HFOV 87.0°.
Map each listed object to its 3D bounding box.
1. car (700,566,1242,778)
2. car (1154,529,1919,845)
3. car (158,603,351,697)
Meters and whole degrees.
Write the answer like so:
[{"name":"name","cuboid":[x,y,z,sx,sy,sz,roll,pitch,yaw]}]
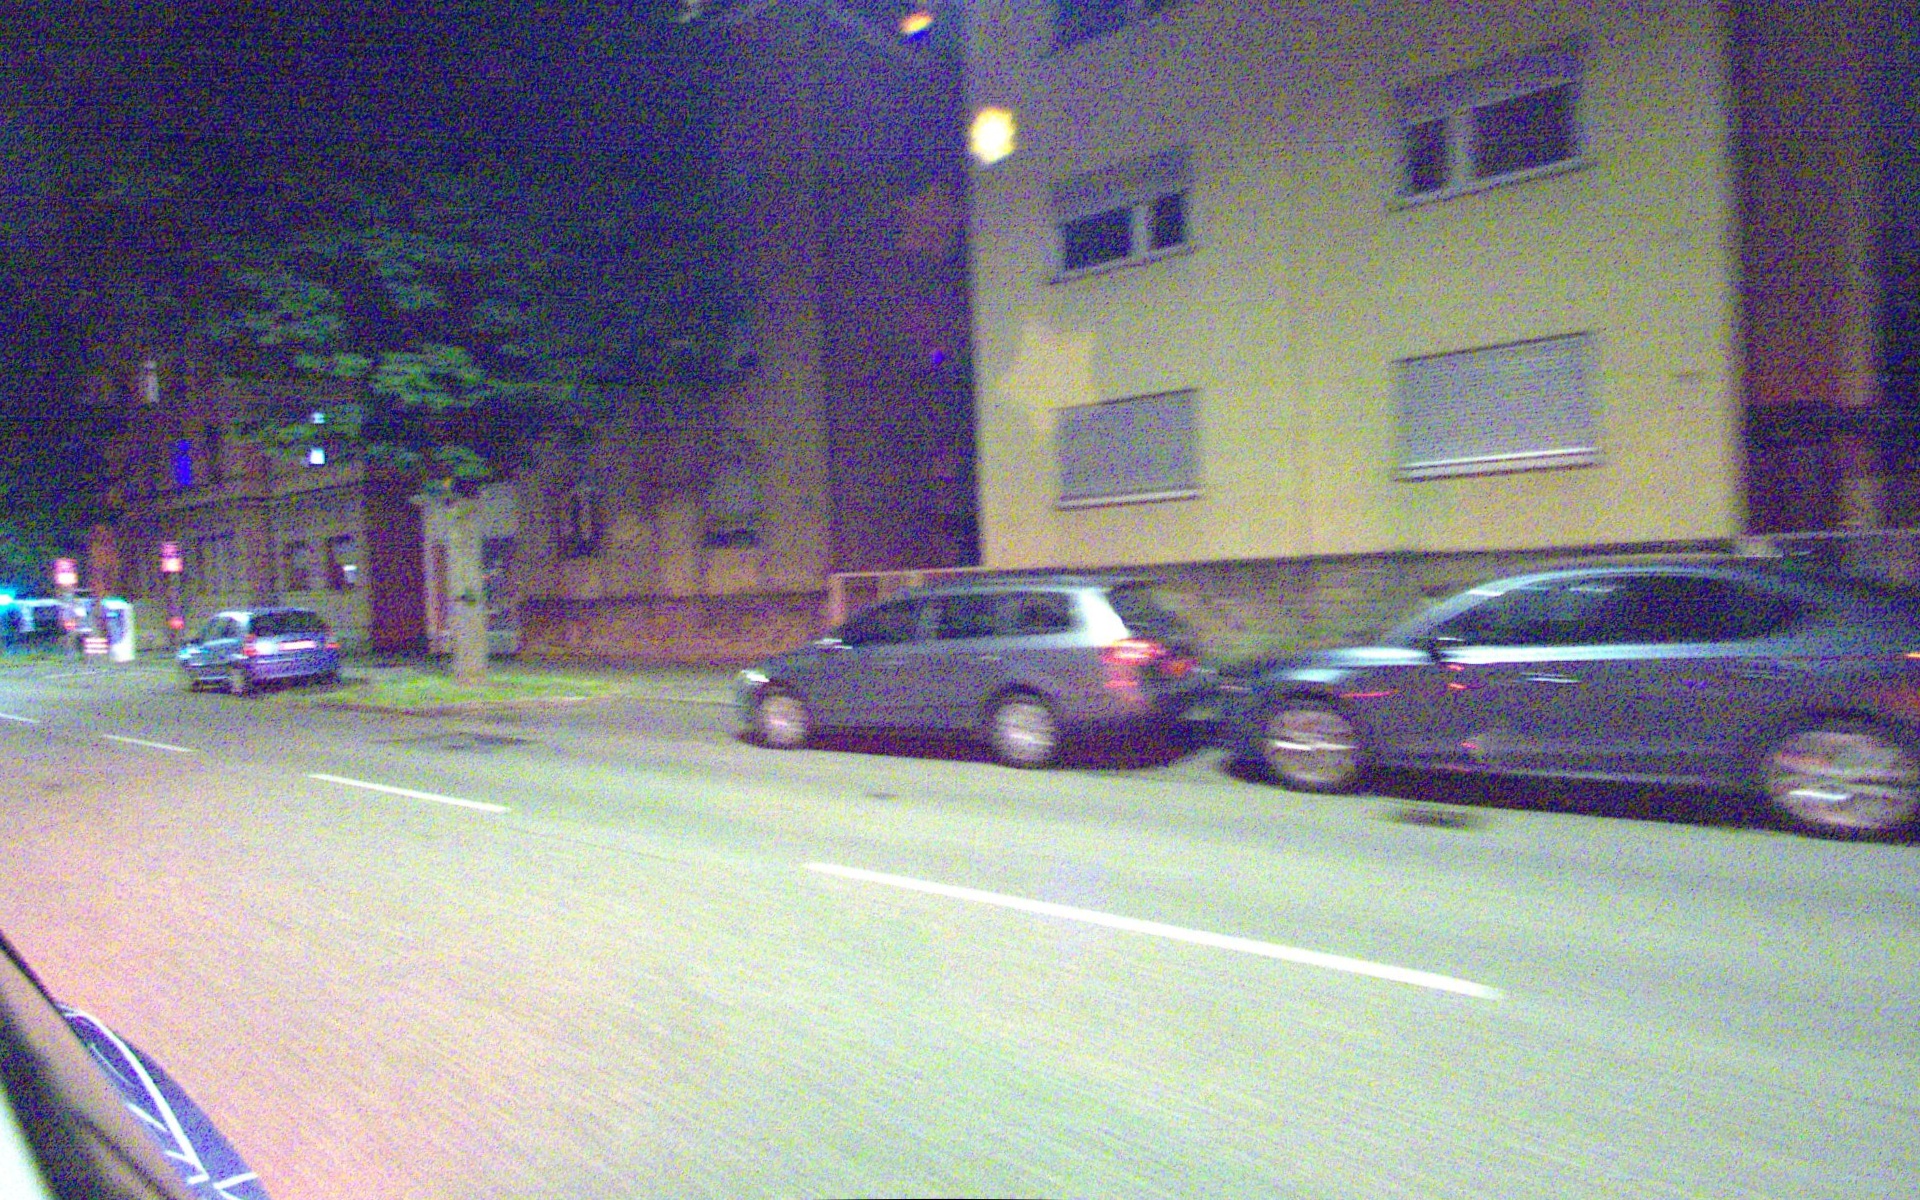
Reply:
[{"name":"car","cuboid":[-0.068,0.541,9.218,4.755,1.497,1.753,-1,0,34]},{"name":"car","cuboid":[3.841,0.425,6.371,4.853,1.497,1.753,-1,0,35]},{"name":"car","cuboid":[-13.305,0.900,19.018,3.981,1.505,1.699,-2,1,36]}]
